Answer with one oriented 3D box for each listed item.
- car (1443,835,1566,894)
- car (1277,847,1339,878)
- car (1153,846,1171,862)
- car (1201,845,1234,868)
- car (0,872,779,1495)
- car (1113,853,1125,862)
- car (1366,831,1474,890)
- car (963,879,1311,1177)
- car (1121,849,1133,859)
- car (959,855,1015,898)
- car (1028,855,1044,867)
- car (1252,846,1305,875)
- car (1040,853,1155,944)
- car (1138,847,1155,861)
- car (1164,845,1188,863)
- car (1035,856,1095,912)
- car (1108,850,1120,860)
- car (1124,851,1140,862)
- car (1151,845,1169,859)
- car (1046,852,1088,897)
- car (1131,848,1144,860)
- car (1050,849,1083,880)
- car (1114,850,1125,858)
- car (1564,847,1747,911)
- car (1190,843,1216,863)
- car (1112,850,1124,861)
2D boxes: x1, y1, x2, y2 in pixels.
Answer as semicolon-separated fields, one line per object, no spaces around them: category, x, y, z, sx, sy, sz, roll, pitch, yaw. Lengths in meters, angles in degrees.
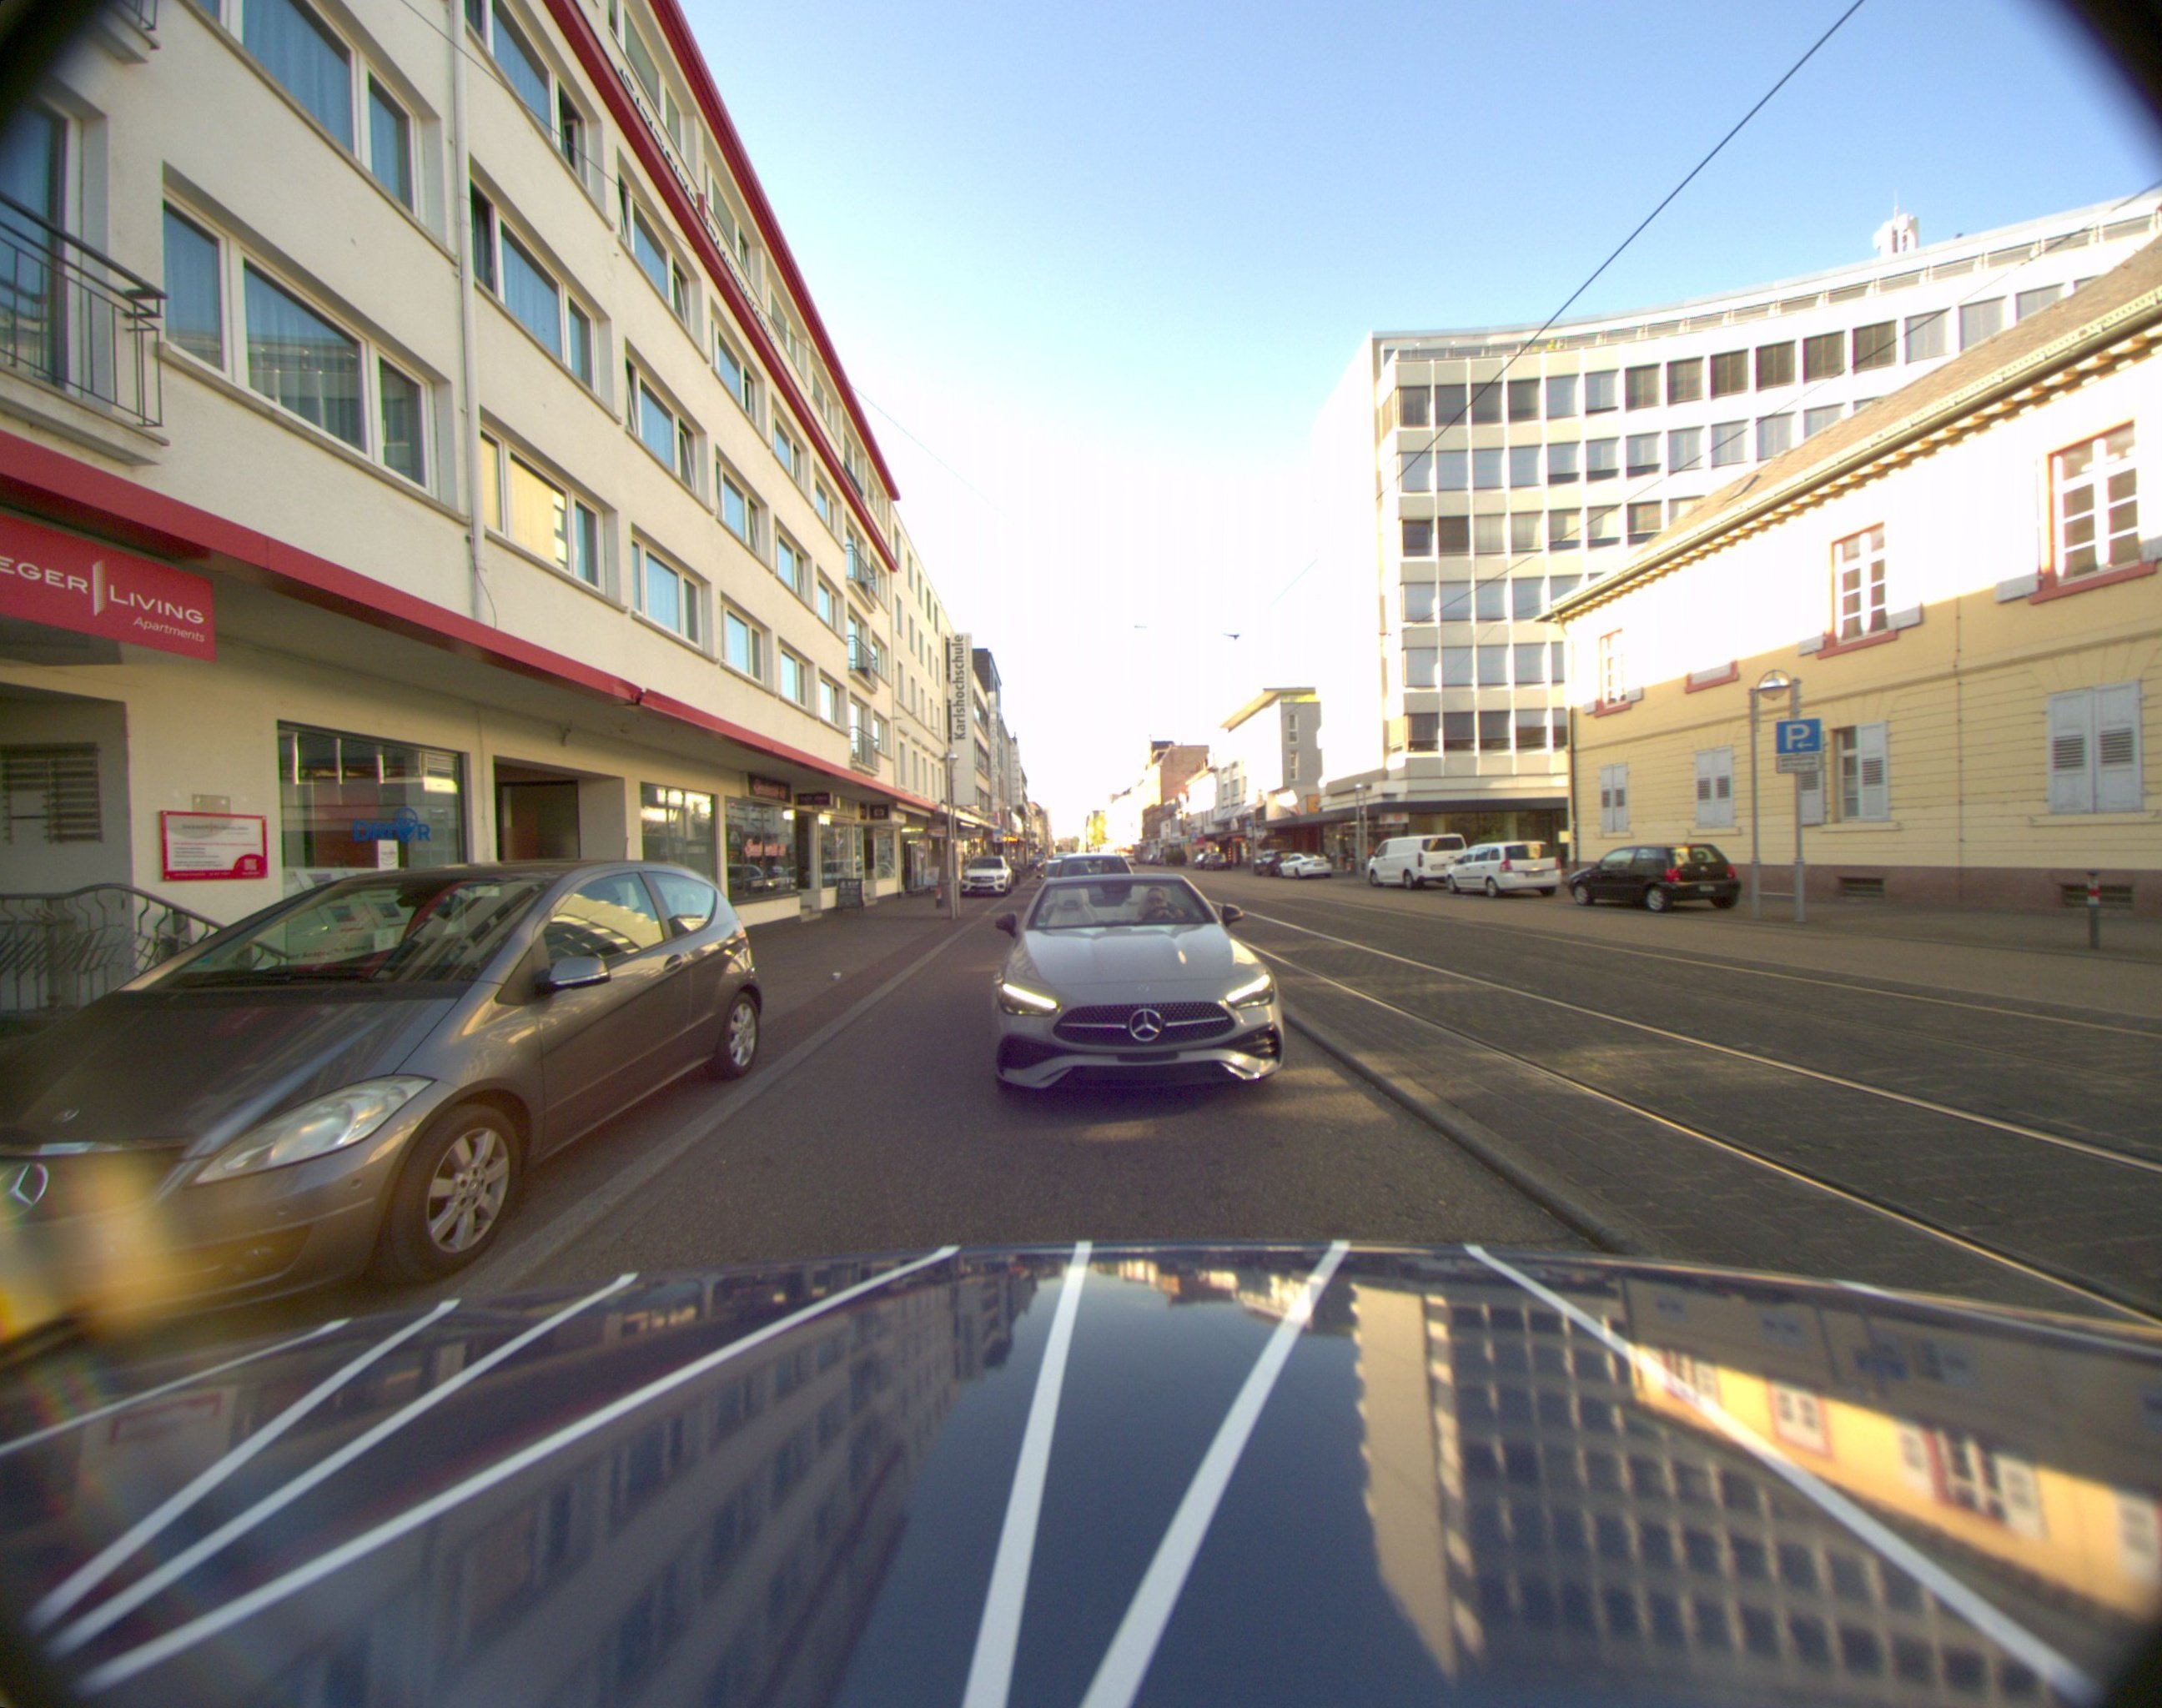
car;12.736;0.269;23.155;1.641;1.600;4.005;-2;1;3
car;12.555;0.423;42.253;1.999;1.521;4.373;-2;1;-1
car;10.692;0.043;100.858;1.998;2.002;4.000;-1;0;1
car;11.721;0.219;65.489;1.999;1.849;3.998;-2;1;-2
car;-3.214;0.935;3.982;1.683;1.537;3.999;-2;0;-1
car;6.789;0.598;135.285;1.964;1.499;4.000;-2;1;4
car;12.678;0.231;28.788;2.040;2.002;4.621;-1;0;1
car;0.181;1.012;6.172;1.884;1.375;3.998;-2;1;-4
car;9.547;-0.042;157.286;1.999;2.002;3.999;-1;0;-2
car;-3.850;0.889;31.719;1.999;1.620;3.998;-1;0;-4
car;-5.536;0.840;93.937;1.714;1.430;3.756;-2;1;-1
car;12.327;0.361;47.684;1.999;1.694;4.107;-3;1;-2
car;0.195;0.796;15.517;1.927;1.533;3.998;-2;0;-4
car;10.343;0.016;119.516;1.999;2.002;5.320;-1;0;-2
car;11.316;-0.013;90.438;2.200;2.030;3.999;-1;0;-1
car;-0.490;0.864;23.533;1.648;1.506;3.844;-2;0;-1
car;6.300;0.185;144.035;1.914;1.883;3.855;-2;1;-2
car;7.335;0.324;109.073;1.760;1.587;3.999;-1;0;-2
car;11.523;-0.302;111.403;1.999;2.002;3.998;-2;1;-2
car;-0.605;0.811;31.918;1.573;1.670;3.688;-2;1;-1
car;9.943;-0.004;134.569;1.998;2.002;4.000;-1;0;0
car;-0.919;0.654;48.694;1.999;1.793;3.999;-2;1;-1
car;9.034;-0.066;176.712;2.148;1.850;3.998;-2;1;-2
car;12.978;0.507;17.412;1.688;1.246;3.212;-2;1;-1
car;11.857;-0.063;74.019;1.789;1.870;3.999;-1;0;-2
car;7.400;0.290;151.113;1.999;2.002;3.998;-2;1;-2
